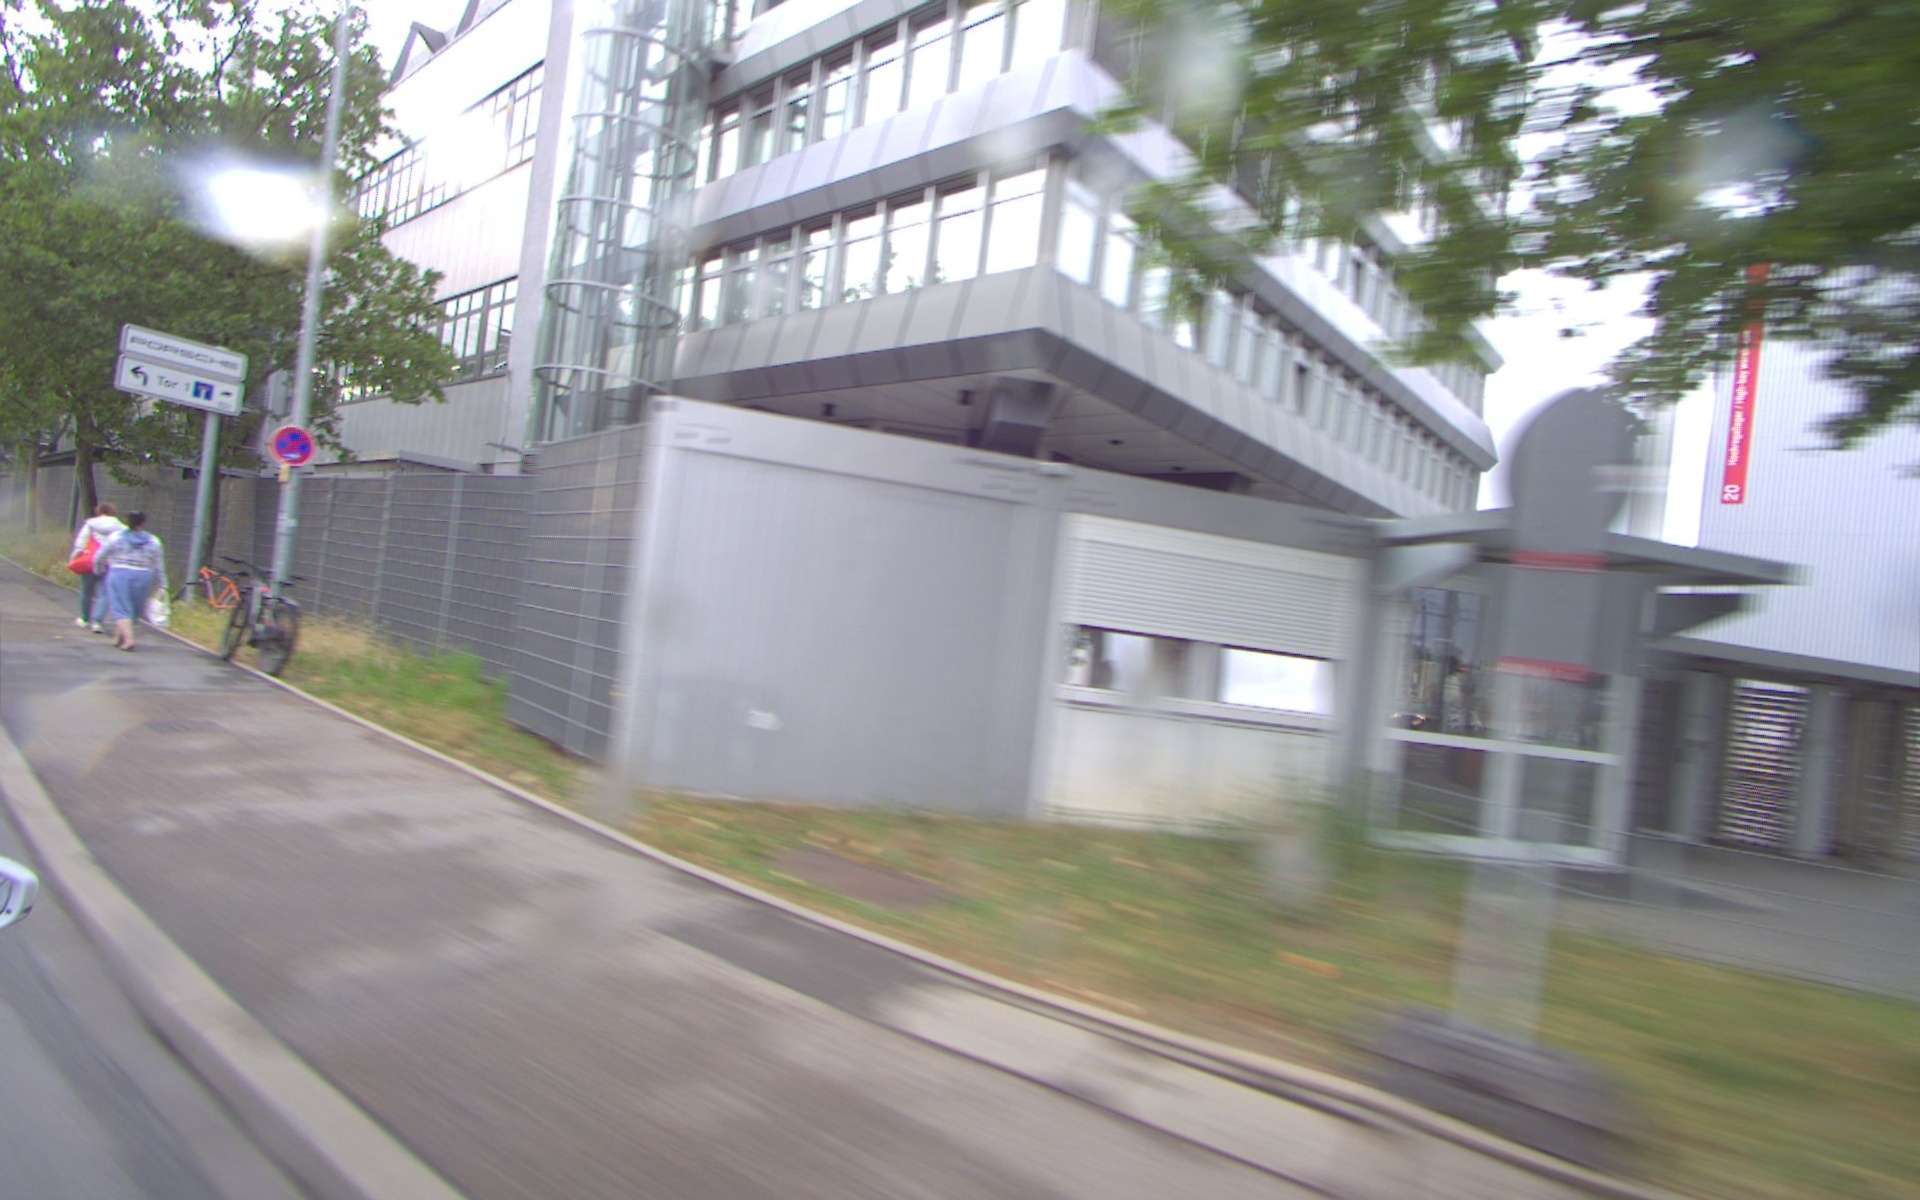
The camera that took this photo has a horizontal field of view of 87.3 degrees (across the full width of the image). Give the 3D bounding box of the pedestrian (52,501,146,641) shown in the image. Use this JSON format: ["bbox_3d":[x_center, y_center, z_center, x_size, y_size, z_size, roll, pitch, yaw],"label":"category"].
[{"bbox_3d":[-10.696,-0.361,12.496,0.707,1.611,0.830,7,0,-44],"label":"pedestrian"}]

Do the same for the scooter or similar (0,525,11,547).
[{"bbox_3d":[-34.710,-2.368,35.724,1.495,0.722,0.655,7,0,10],"label":"scooter or similar"}]

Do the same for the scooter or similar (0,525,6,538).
[{"bbox_3d":[-39.138,-2.825,40.035,1.551,0.525,0.638,8,-1,-33],"label":"scooter or similar"}]

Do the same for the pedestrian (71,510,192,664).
[{"bbox_3d":[-9.038,-0.146,10.971,0.829,1.539,0.831,7,-1,-44],"label":"pedestrian"}]

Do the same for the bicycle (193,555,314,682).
[{"bbox_3d":[-7.550,0.171,10.715,1.942,1.132,0.341,6,0,36],"label":"bicycle"}]

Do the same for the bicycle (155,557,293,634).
[{"bbox_3d":[-11.365,-0.056,15.551,1.670,0.965,0.513,7,0,1],"label":"bicycle"}]
